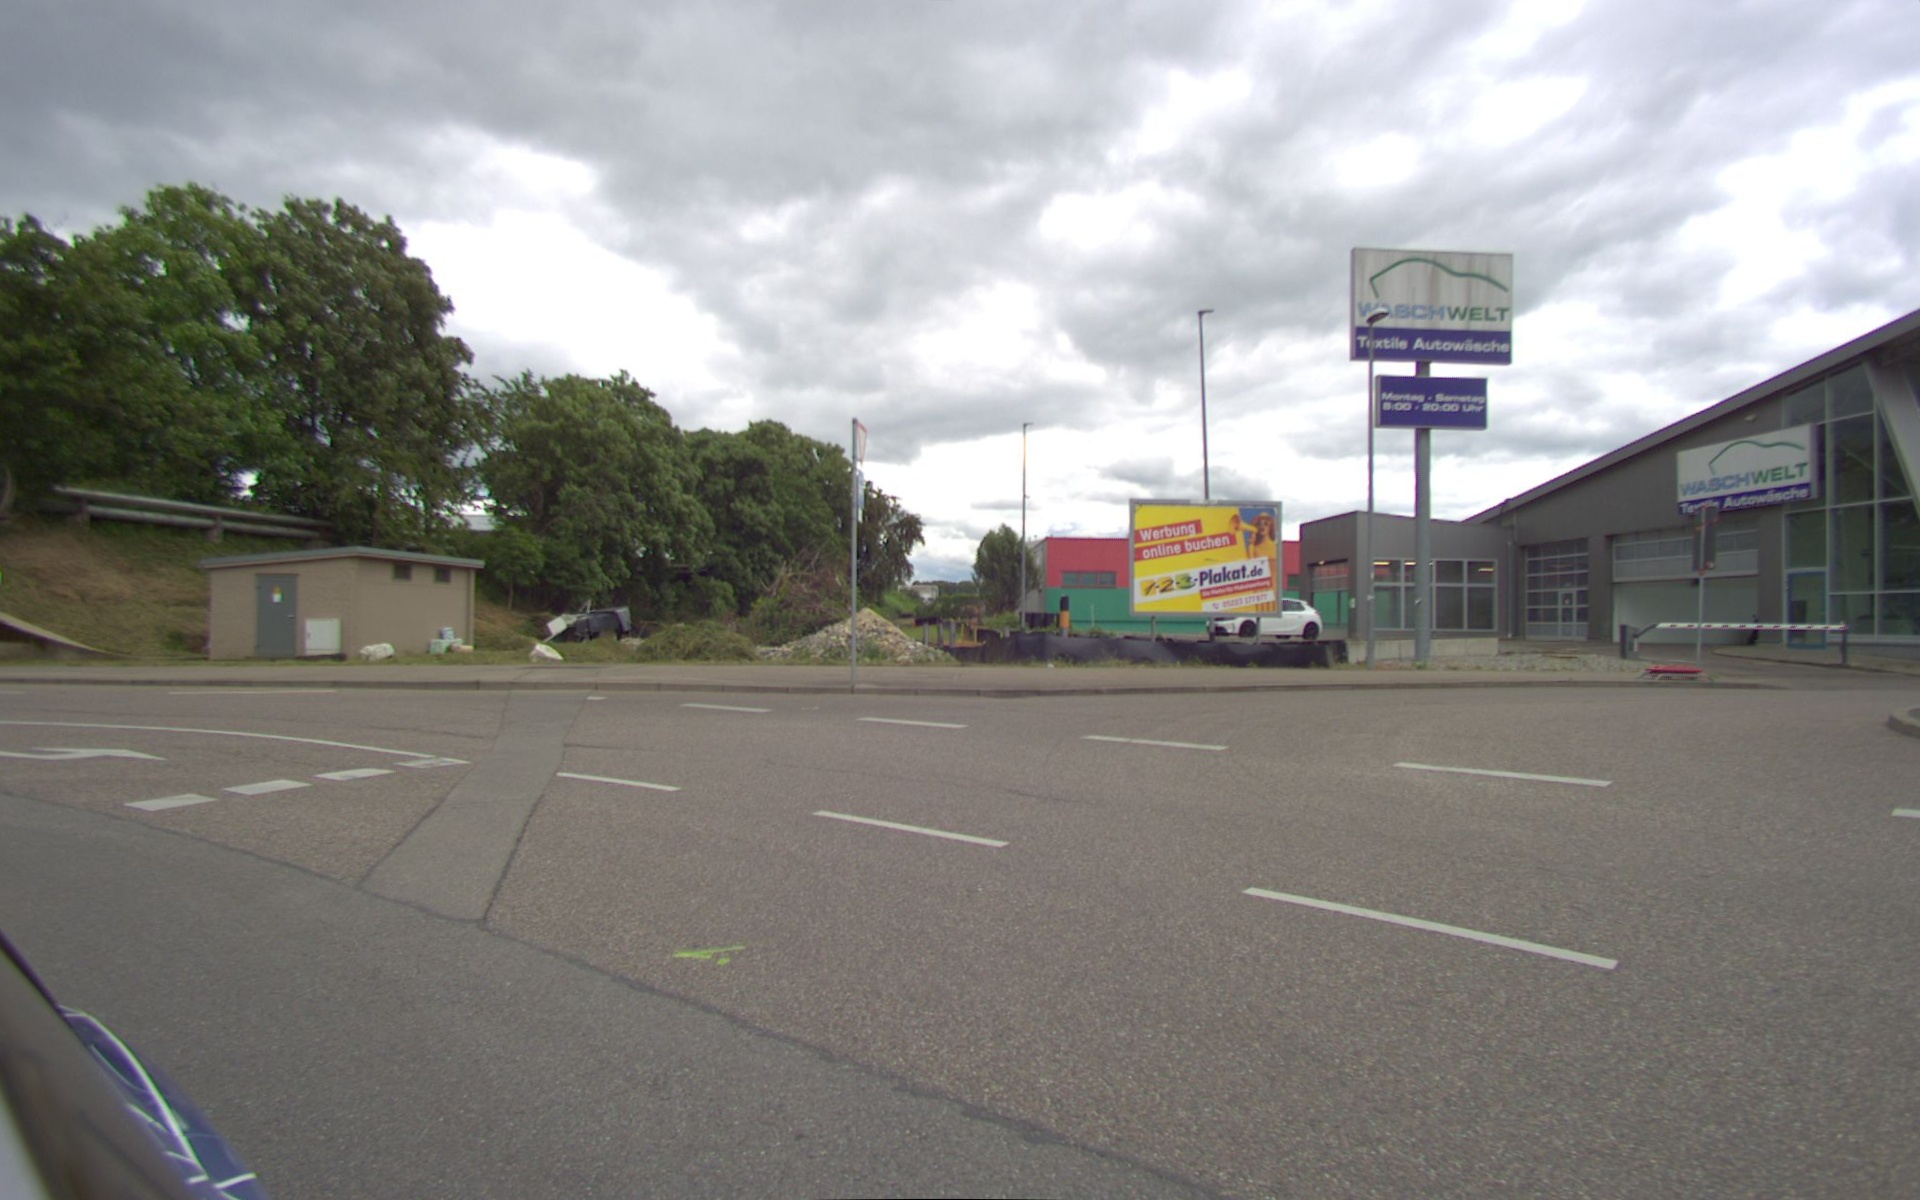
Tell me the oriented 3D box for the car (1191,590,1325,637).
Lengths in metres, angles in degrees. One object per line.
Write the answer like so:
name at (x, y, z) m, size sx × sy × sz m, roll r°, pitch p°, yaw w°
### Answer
car at (10.162, 0.480, 34.564) m, size 3.931 × 1.547 × 2.006 m, roll 1°, pitch -1°, yaw -18°

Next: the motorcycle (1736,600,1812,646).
motorcycle at (31.124, 0.882, 38.705) m, size 2.327 × 1.723 × 0.844 m, roll 0°, pitch -1°, yaw -6°
